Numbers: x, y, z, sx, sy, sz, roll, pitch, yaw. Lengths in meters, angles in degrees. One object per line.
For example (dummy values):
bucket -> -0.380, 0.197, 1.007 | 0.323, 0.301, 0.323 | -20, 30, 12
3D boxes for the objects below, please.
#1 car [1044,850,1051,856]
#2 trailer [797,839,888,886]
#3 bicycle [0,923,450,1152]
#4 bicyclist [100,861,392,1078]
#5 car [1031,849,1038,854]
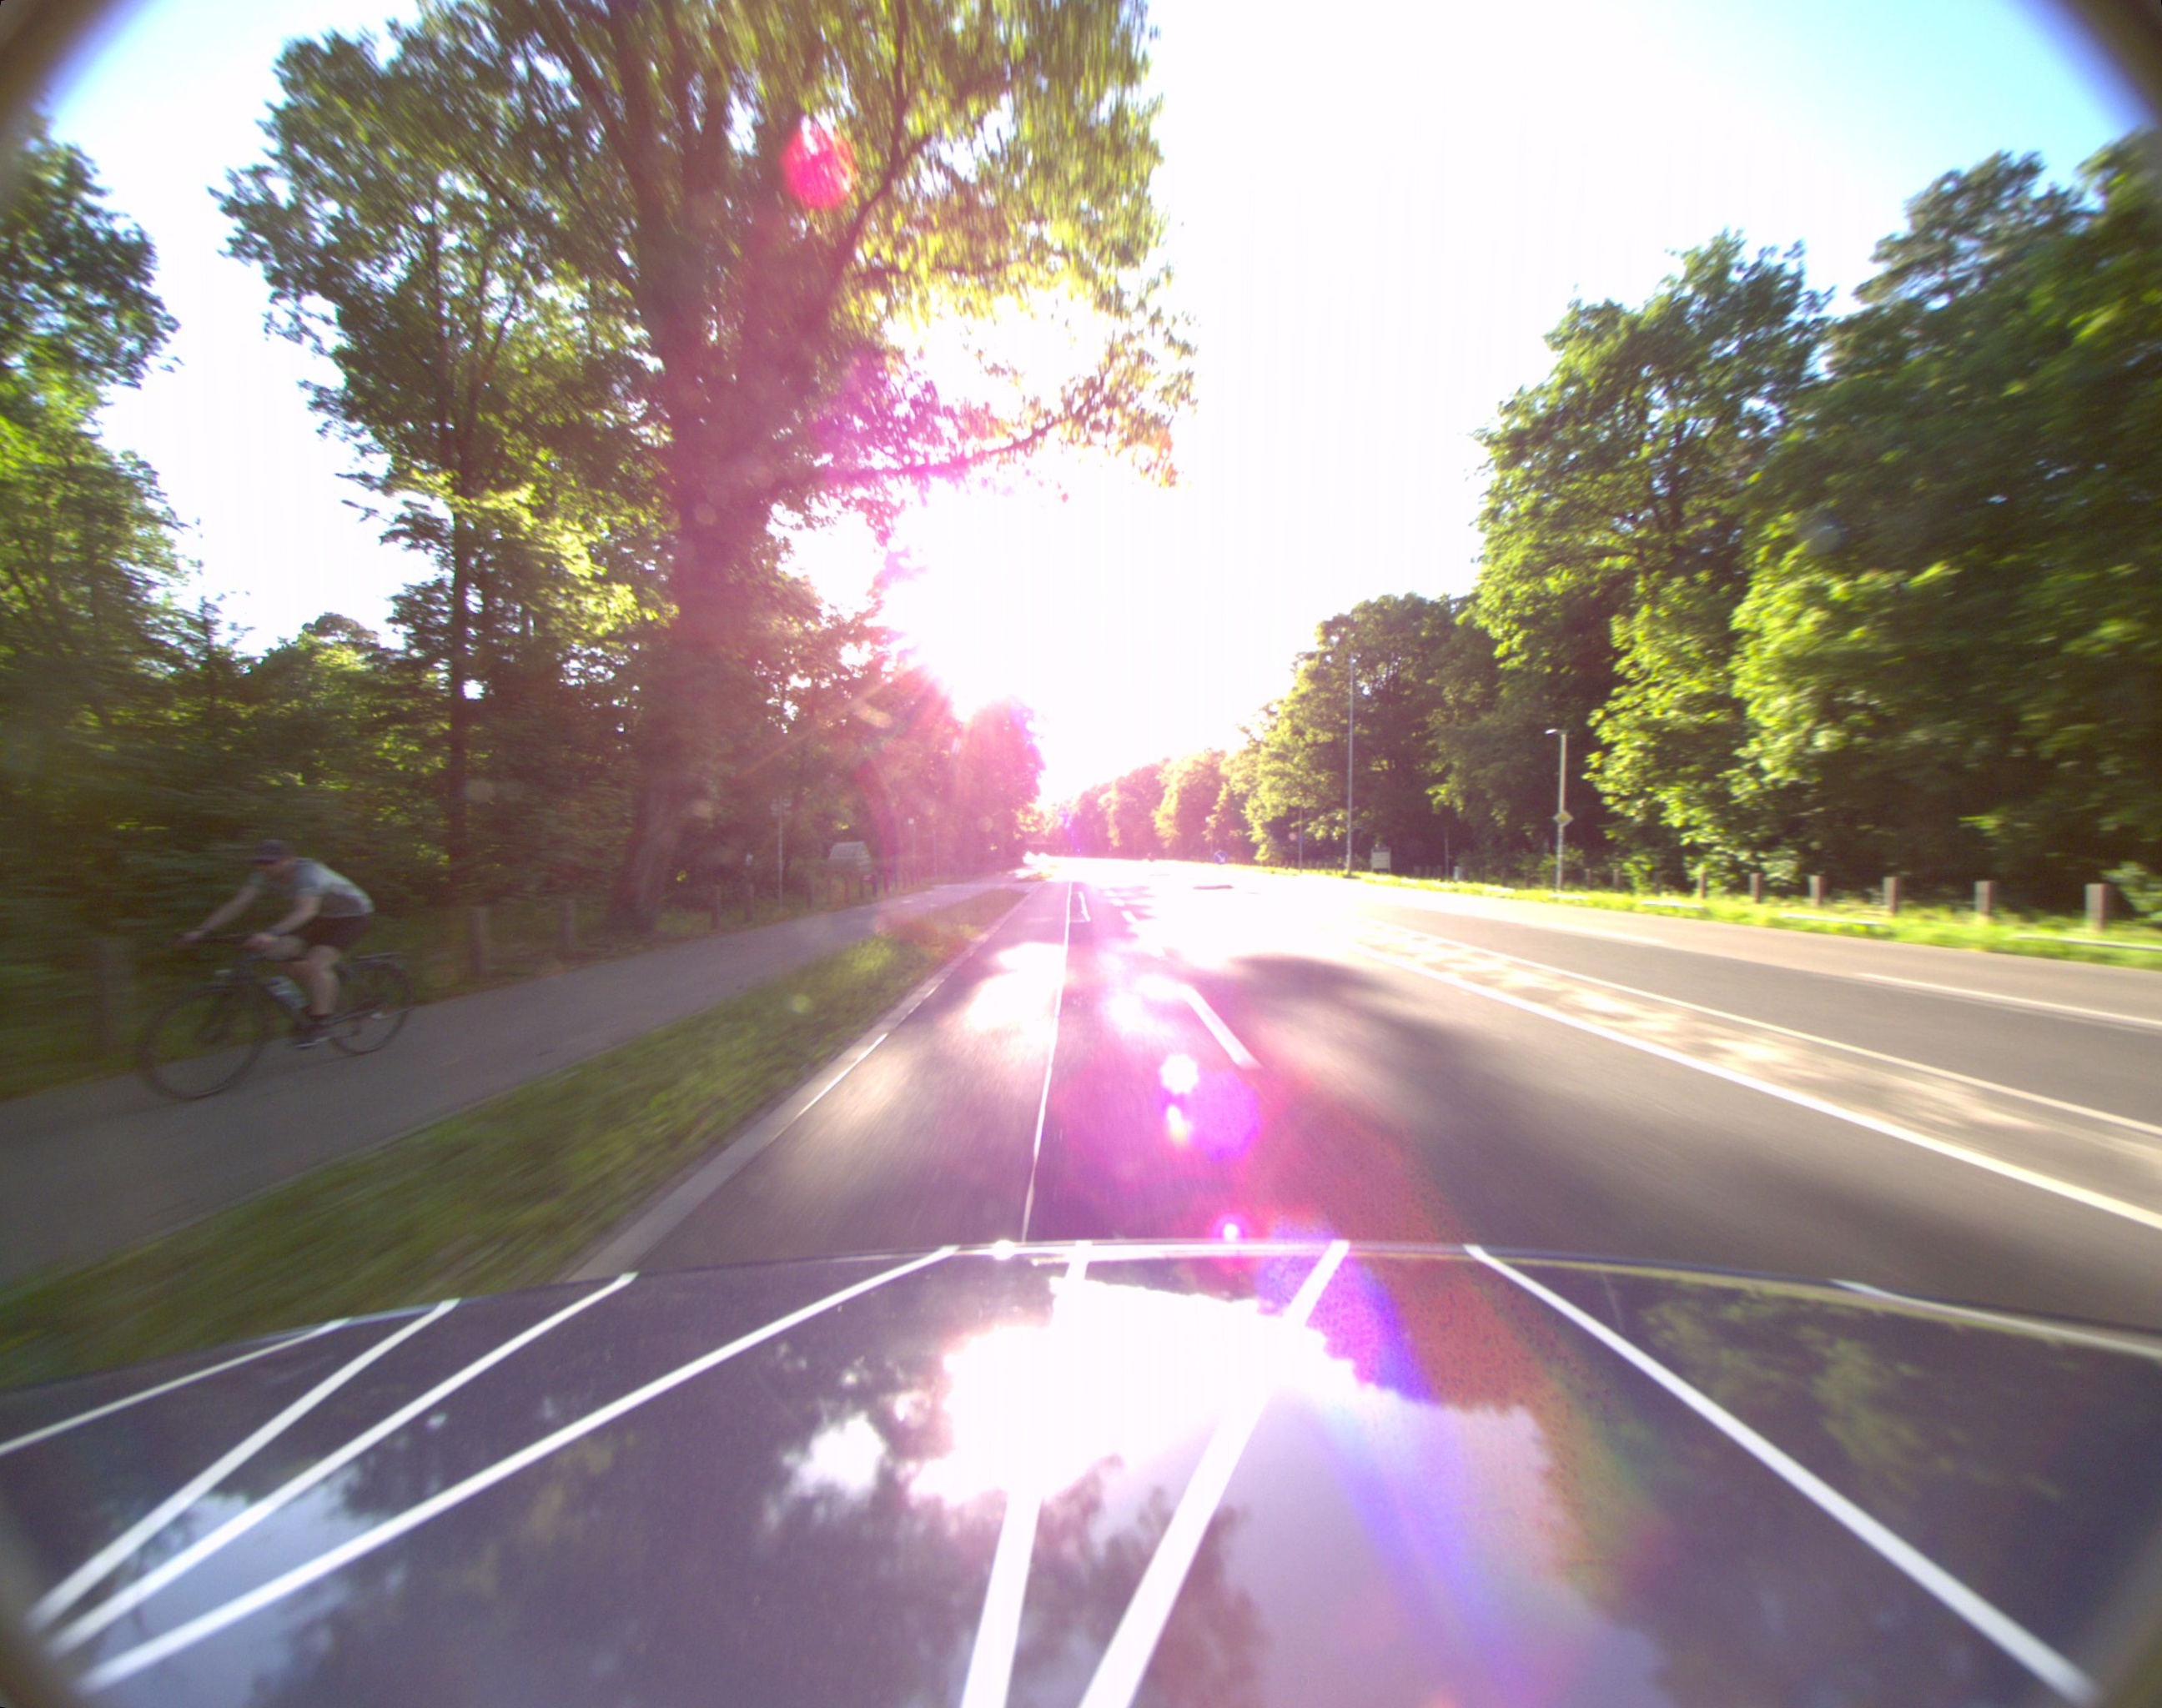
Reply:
car -> -9.703, -0.291, 219.798 | 1.827, 1.674, 3.997 | -1, 0, -6
trailer -> -10.849, 0.367, 34.507 | 4.215, 2.010, 2.004 | 0, 1, 41
bicycle -> -5.526, 1.097, 5.174 | 0.714, 1.049, 2.053 | -1, 0, 0
bicyclist -> -5.537, 0.705, 5.137 | 0.714, 1.281, 1.104 | -1, 1, 0
car -> -15.486, -0.719, 252.385 | 1.828, 1.674, 3.995 | -1, 0, -11
